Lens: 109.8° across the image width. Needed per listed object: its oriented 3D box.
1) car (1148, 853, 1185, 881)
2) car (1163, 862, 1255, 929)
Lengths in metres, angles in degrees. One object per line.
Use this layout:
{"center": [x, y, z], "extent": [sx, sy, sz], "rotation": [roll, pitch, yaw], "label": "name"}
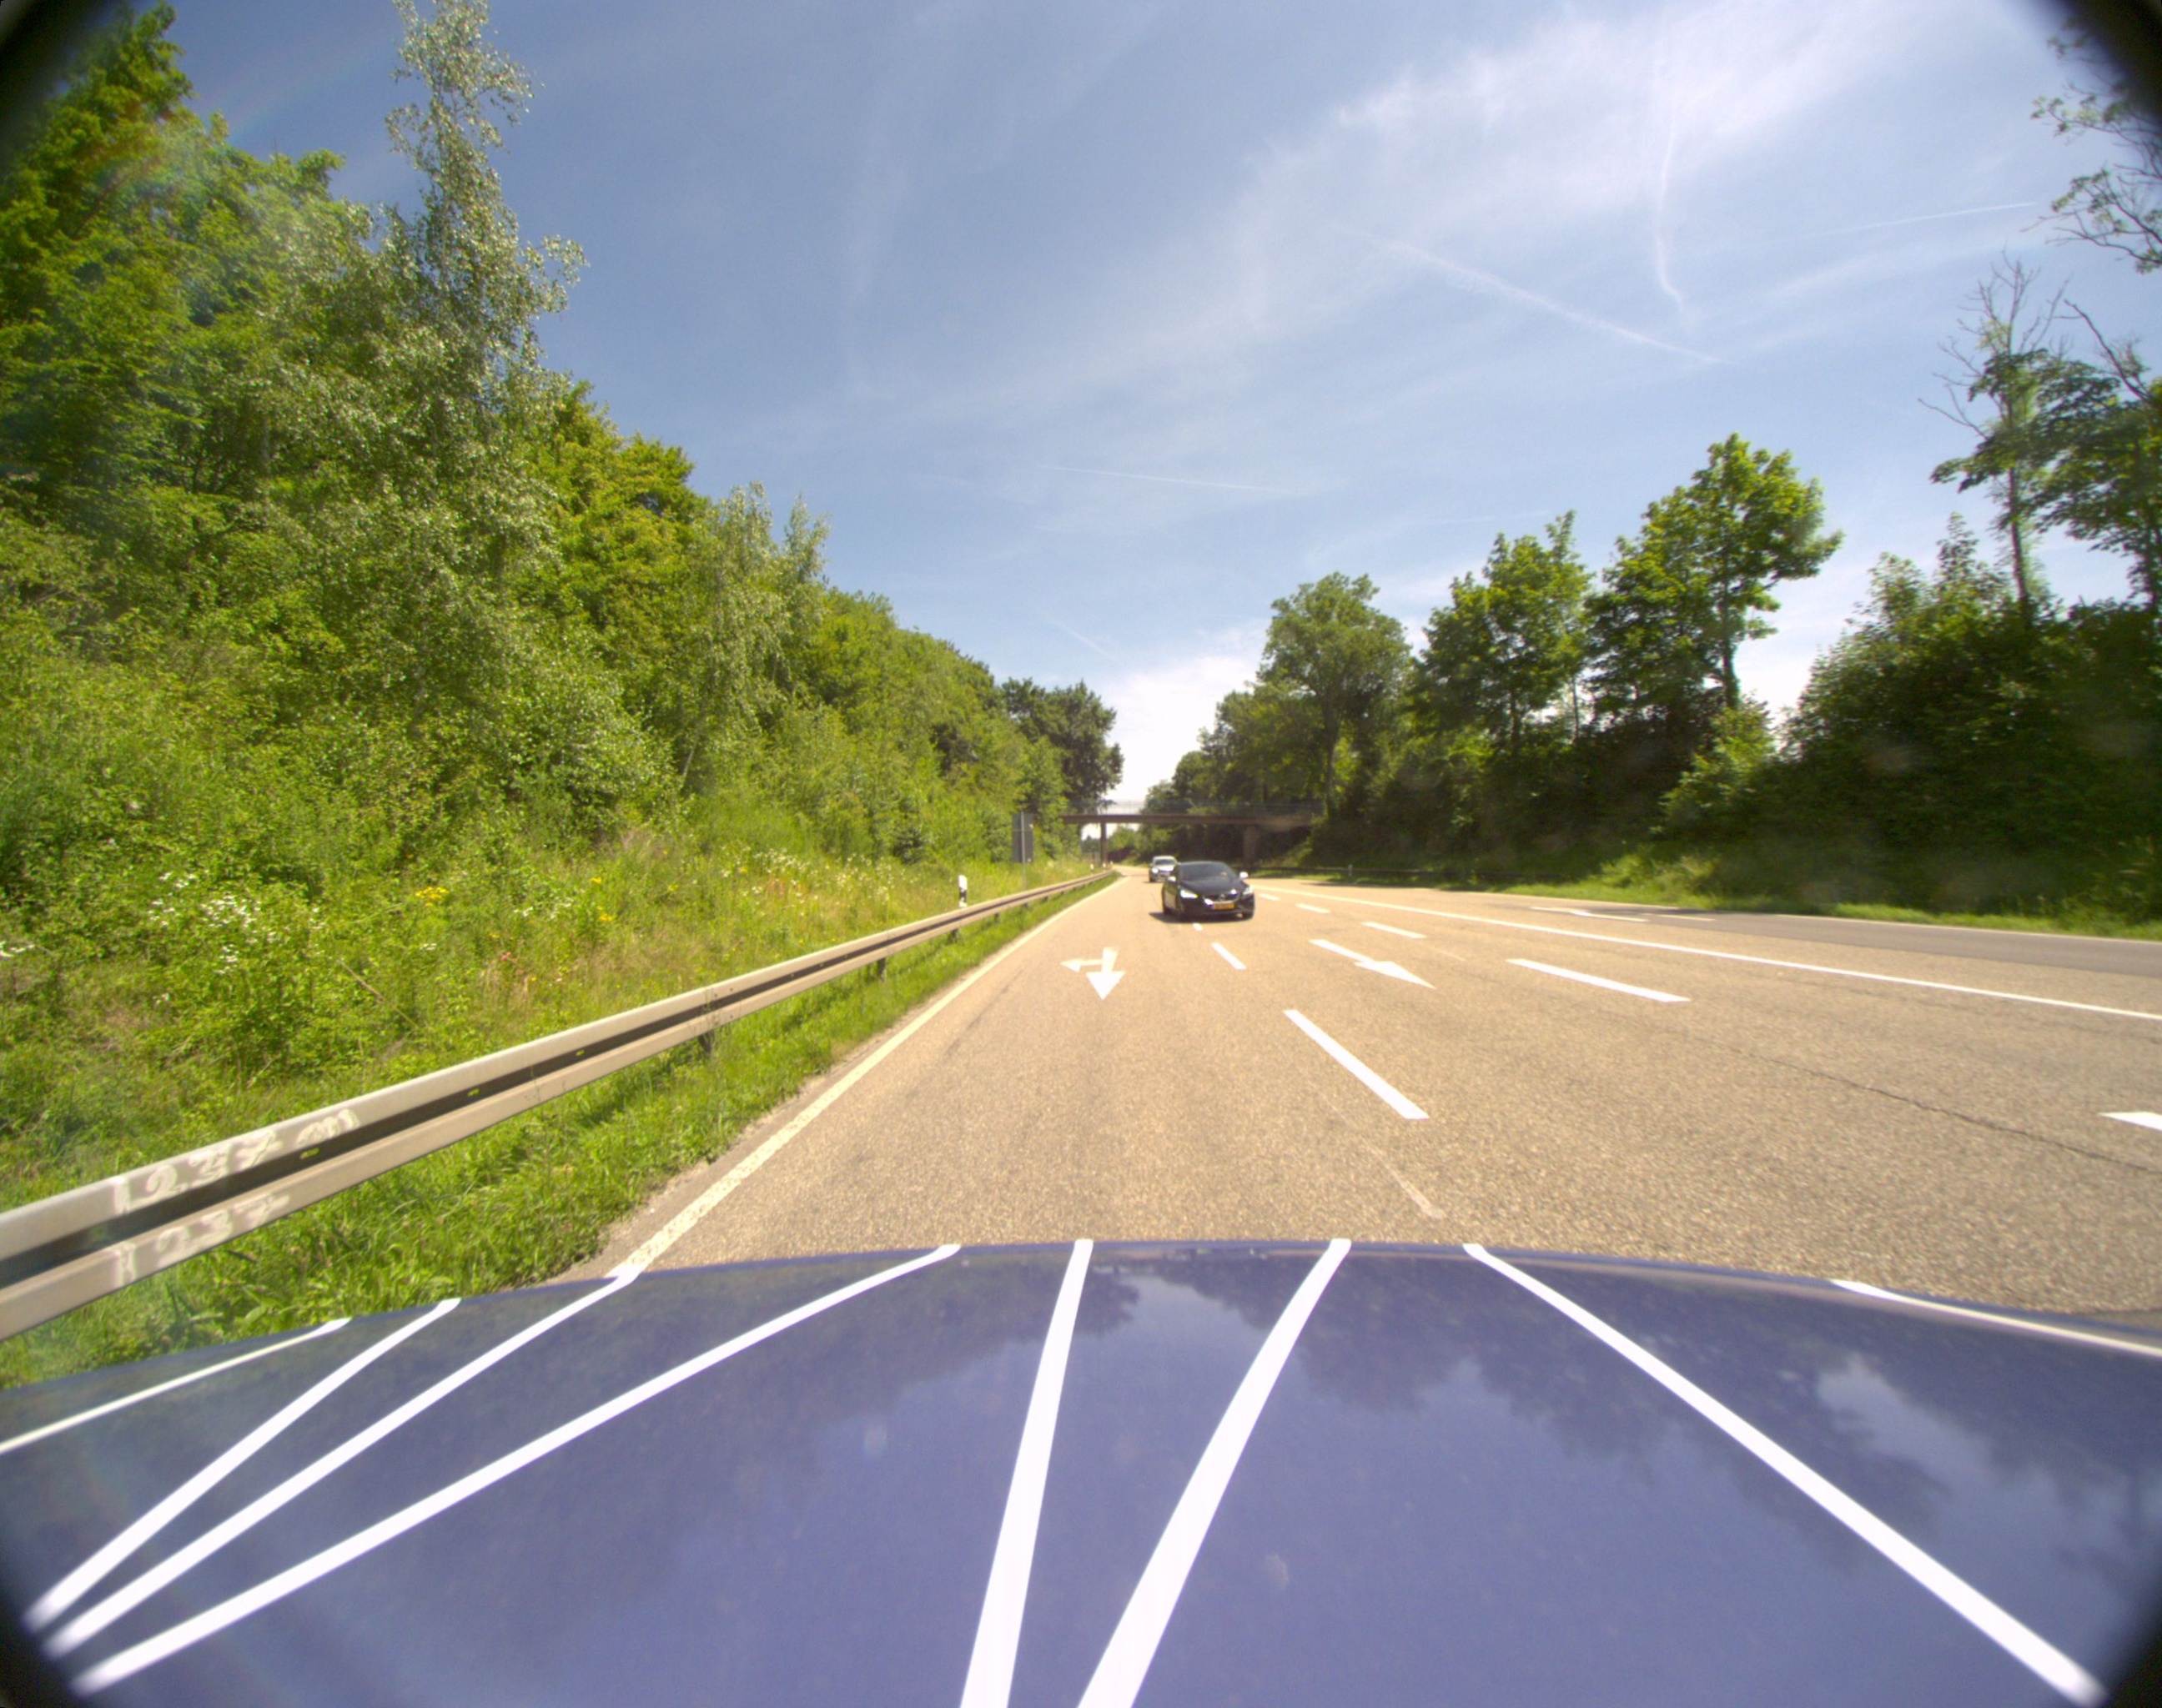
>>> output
{"center": [5.446, 0.820, 48.886], "extent": [1.809, 1.660, 4.292], "rotation": [-2, 0, 0], "label": "car"}
{"center": [3.091, 0.948, 19.124], "extent": [1.690, 1.390, 4.403], "rotation": [-1, 0, 2], "label": "car"}
